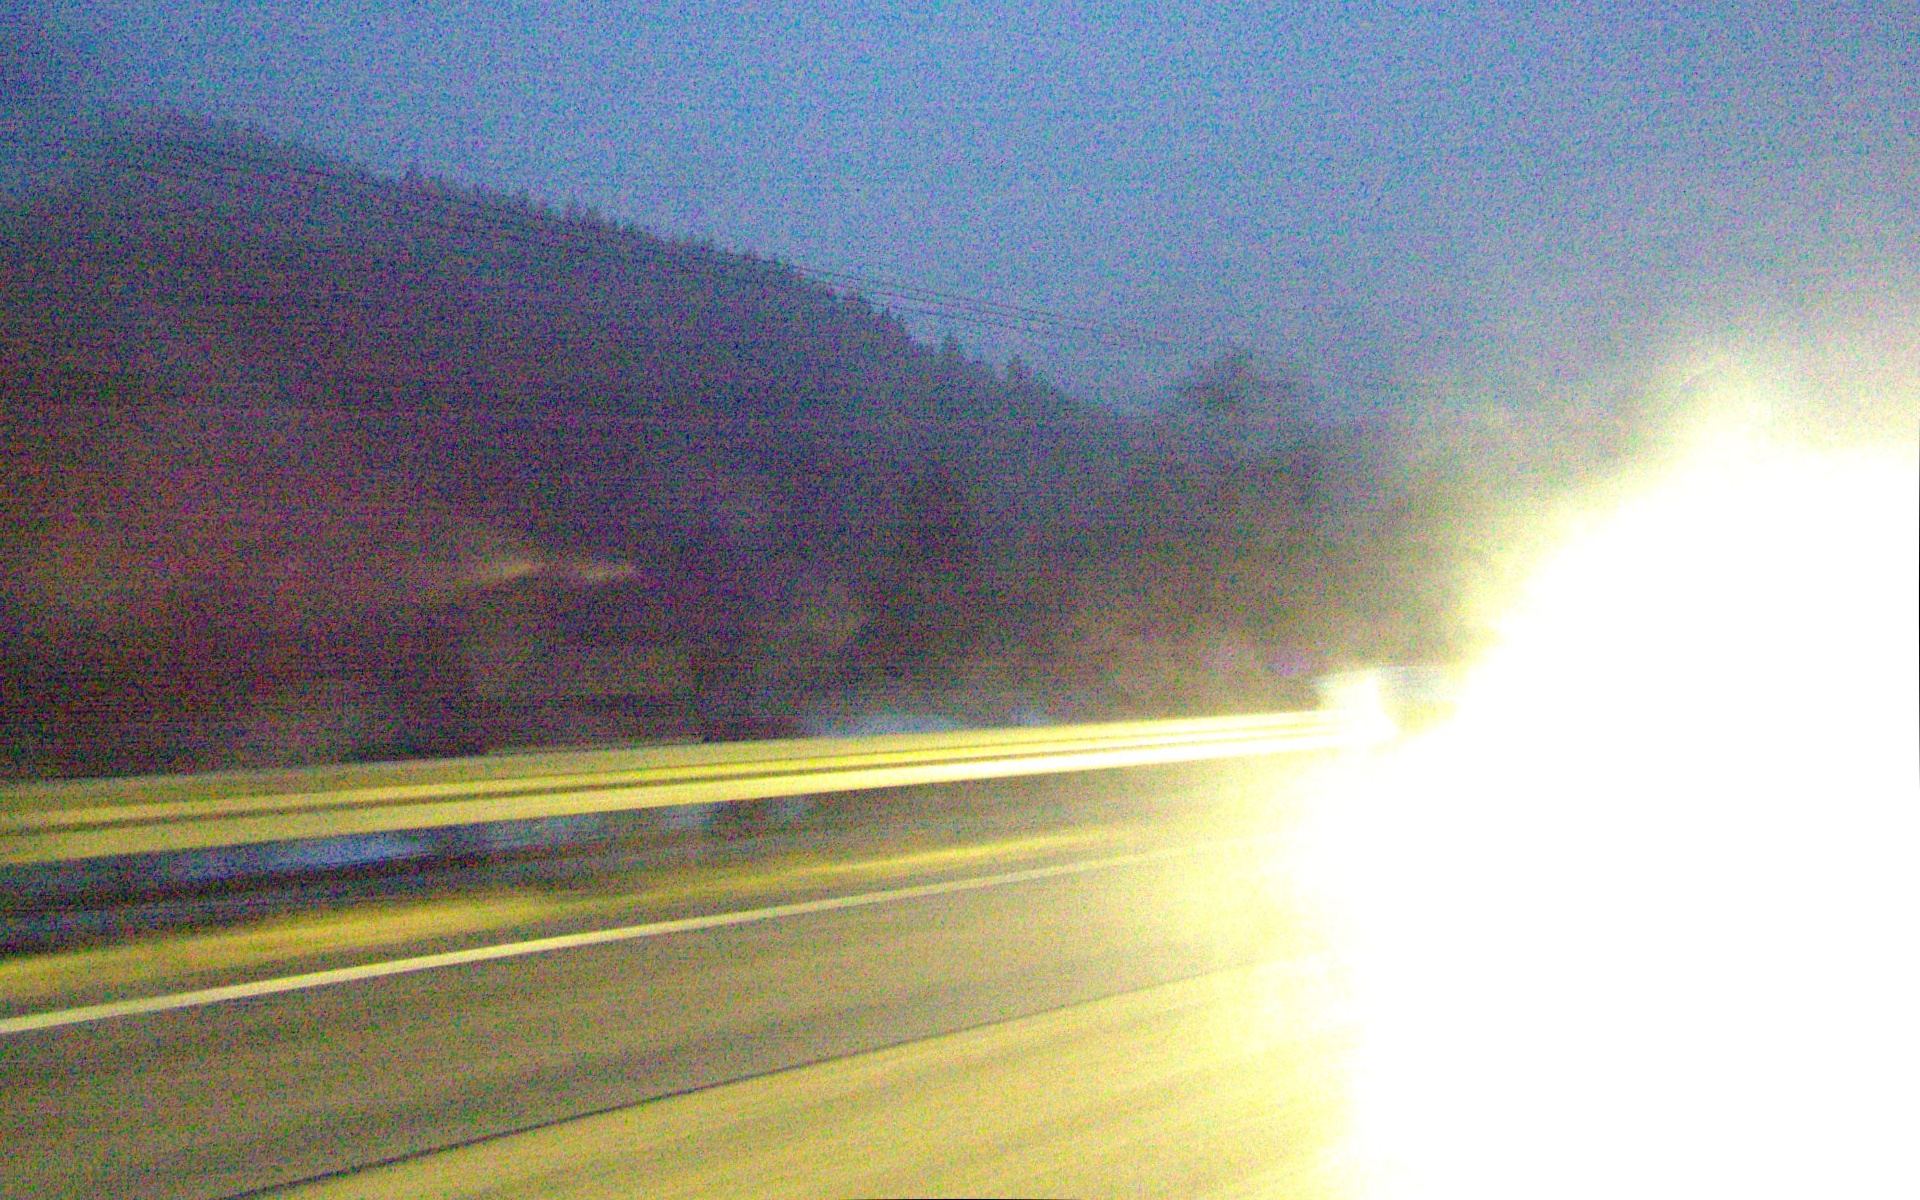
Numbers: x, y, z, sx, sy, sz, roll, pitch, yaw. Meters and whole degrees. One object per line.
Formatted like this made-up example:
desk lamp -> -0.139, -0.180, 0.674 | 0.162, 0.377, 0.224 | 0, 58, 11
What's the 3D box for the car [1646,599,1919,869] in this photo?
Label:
car -> 6.939, 0.838, 7.340 | 3.828, 1.576, 1.808 | 2, -2, -32
